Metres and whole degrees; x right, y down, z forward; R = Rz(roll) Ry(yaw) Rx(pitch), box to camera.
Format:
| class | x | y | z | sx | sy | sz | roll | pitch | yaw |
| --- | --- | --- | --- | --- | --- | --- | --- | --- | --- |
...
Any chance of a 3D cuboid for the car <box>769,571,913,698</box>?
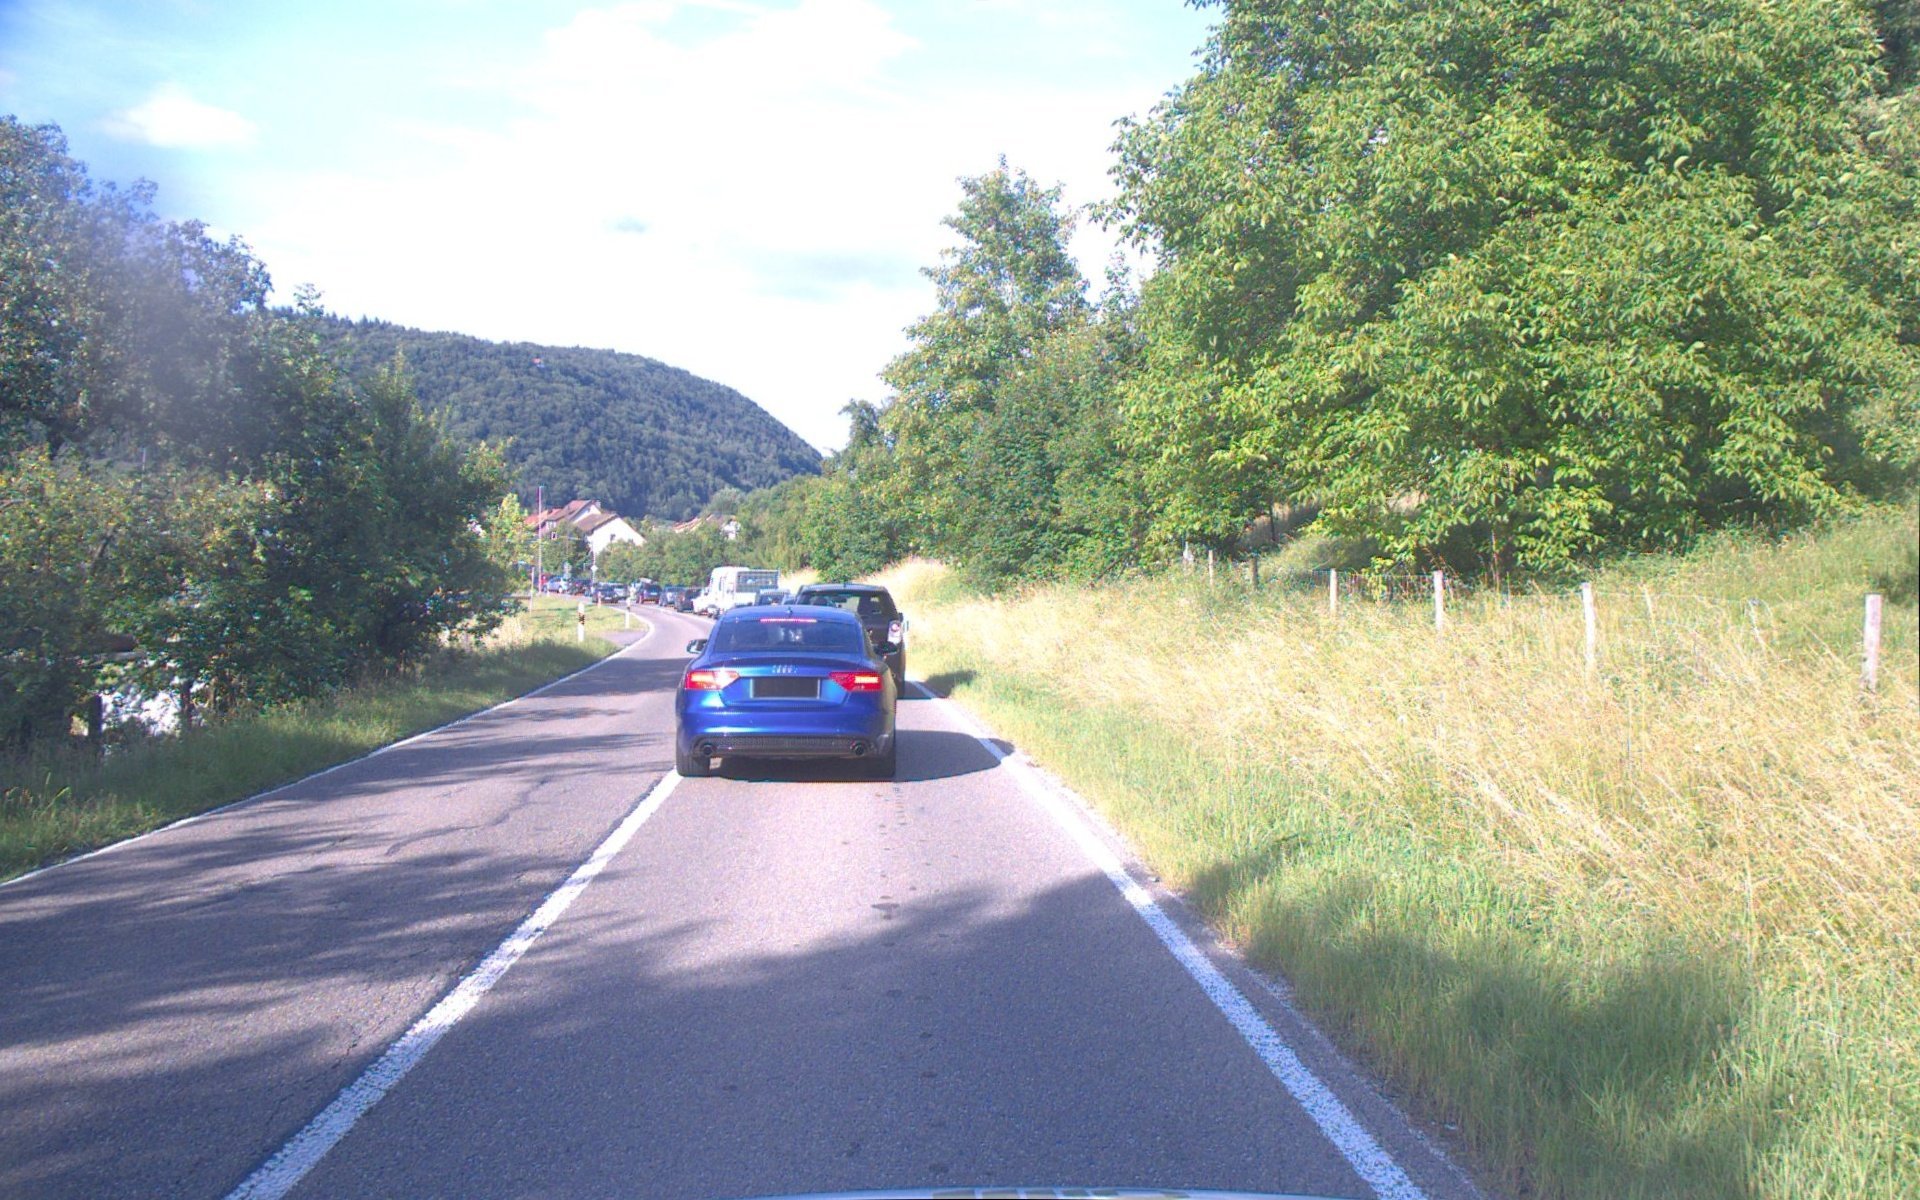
| class | x | y | z | sx | sy | sz | roll | pitch | yaw |
| --- | --- | --- | --- | --- | --- | --- | --- | --- | --- |
| car | -1.713 | 0.487 | 24.769 | 1.953 | 1.732 | 3.998 | 1 | 0 | -2 |

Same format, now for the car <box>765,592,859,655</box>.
| class | x | y | z | sx | sy | sz | roll | pitch | yaw |
| --- | --- | --- | --- | --- | --- | --- | --- | --- | --- |
| car | -3.592 | 0.545 | 39.589 | 1.957 | 1.411 | 3.991 | 1 | 0 | -9 |

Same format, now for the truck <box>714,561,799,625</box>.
| class | x | y | z | sx | sy | sz | roll | pitch | yaw |
| --- | --- | --- | --- | --- | --- | --- | --- | --- | --- |
| truck | -9.529 | -0.317 | 76.393 | 2.815 | 2.712 | 10.358 | 1 | 0 | -13 |

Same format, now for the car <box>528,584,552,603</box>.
| class | x | y | z | sx | sy | sz | roll | pitch | yaw |
| --- | --- | --- | --- | --- | --- | --- | --- | --- | --- |
| car | -47.213 | -0.694 | 185.962 | 1.967 | 2.049 | 3.971 | 1 | 0 | -23 |

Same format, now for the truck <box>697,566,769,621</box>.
| class | x | y | z | sx | sy | sz | roll | pitch | yaw |
| --- | --- | --- | --- | --- | --- | --- | --- | --- | --- |
| truck | -12.157 | -0.339 | 87.868 | 2.815 | 2.712 | 10.609 | 1 | 0 | -13 |

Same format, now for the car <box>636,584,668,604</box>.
| class | x | y | z | sx | sy | sz | roll | pitch | yaw |
| --- | --- | --- | --- | --- | --- | --- | --- | --- | --- |
| car | -24.461 | -0.483 | 131.118 | 1.963 | 1.508 | 3.979 | 1 | 0 | -18 |

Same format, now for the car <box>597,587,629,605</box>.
| class | x | y | z | sx | sy | sz | roll | pitch | yaw |
| --- | --- | --- | --- | --- | --- | --- | --- | --- | --- |
| car | -30.927 | -0.372 | 147.353 | 1.968 | 1.508 | 3.969 | 1 | 0 | -24 |

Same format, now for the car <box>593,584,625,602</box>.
| class | x | y | z | sx | sy | sz | roll | pitch | yaw |
| --- | --- | --- | --- | --- | --- | --- | --- | --- | --- |
| car | -27.542 | -0.548 | 129.689 | 1.963 | 1.400 | 3.979 | 1 | 0 | -18 |

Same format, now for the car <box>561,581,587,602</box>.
| class | x | y | z | sx | sy | sz | roll | pitch | yaw |
| --- | --- | --- | --- | --- | --- | --- | --- | --- | --- |
| car | -39.467 | -0.844 | 169.129 | 1.967 | 2.049 | 3.971 | 1 | 0 | -23 |

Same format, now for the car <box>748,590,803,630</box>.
| class | x | y | z | sx | sy | sz | roll | pitch | yaw |
| --- | --- | --- | --- | --- | --- | --- | --- | --- | --- |
| car | -7.294 | 0.403 | 65.106 | 1.957 | 1.508 | 3.991 | 1 | 0 | -9 |

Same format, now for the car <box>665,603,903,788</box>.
| class | x | y | z | sx | sy | sz | roll | pitch | yaw |
| --- | --- | --- | --- | --- | --- | --- | --- | --- | --- |
| car | -1.400 | 0.721 | 14.517 | 1.757 | 1.383 | 3.999 | 0 | 0 | -1 |

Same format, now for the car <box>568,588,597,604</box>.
| class | x | y | z | sx | sy | sz | roll | pitch | yaw |
| --- | --- | --- | --- | --- | --- | --- | --- | --- | --- |
| car | -36.806 | -0.426 | 161.289 | 1.968 | 1.508 | 3.969 | 1 | 0 | -24 |

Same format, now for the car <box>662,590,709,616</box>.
| class | x | y | z | sx | sy | sz | roll | pitch | yaw |
| --- | --- | --- | --- | --- | --- | --- | --- | --- | --- |
| car | -16.831 | 0.176 | 101.318 | 1.966 | 1.508 | 3.972 | 1 | 0 | -22 |

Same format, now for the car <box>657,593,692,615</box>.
| class | x | y | z | sx | sy | sz | roll | pitch | yaw |
| --- | --- | --- | --- | --- | --- | --- | --- | --- | --- |
| car | -20.769 | 0.281 | 120.129 | 1.963 | 1.508 | 3.979 | 1 | 0 | -18 |

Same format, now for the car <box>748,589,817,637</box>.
| class | x | y | z | sx | sy | sz | roll | pitch | yaw |
| --- | --- | --- | --- | --- | --- | --- | --- | --- | --- |
| car | -5.930 | 0.410 | 54.877 | 1.958 | 1.508 | 3.989 | 1 | 0 | -11 |
